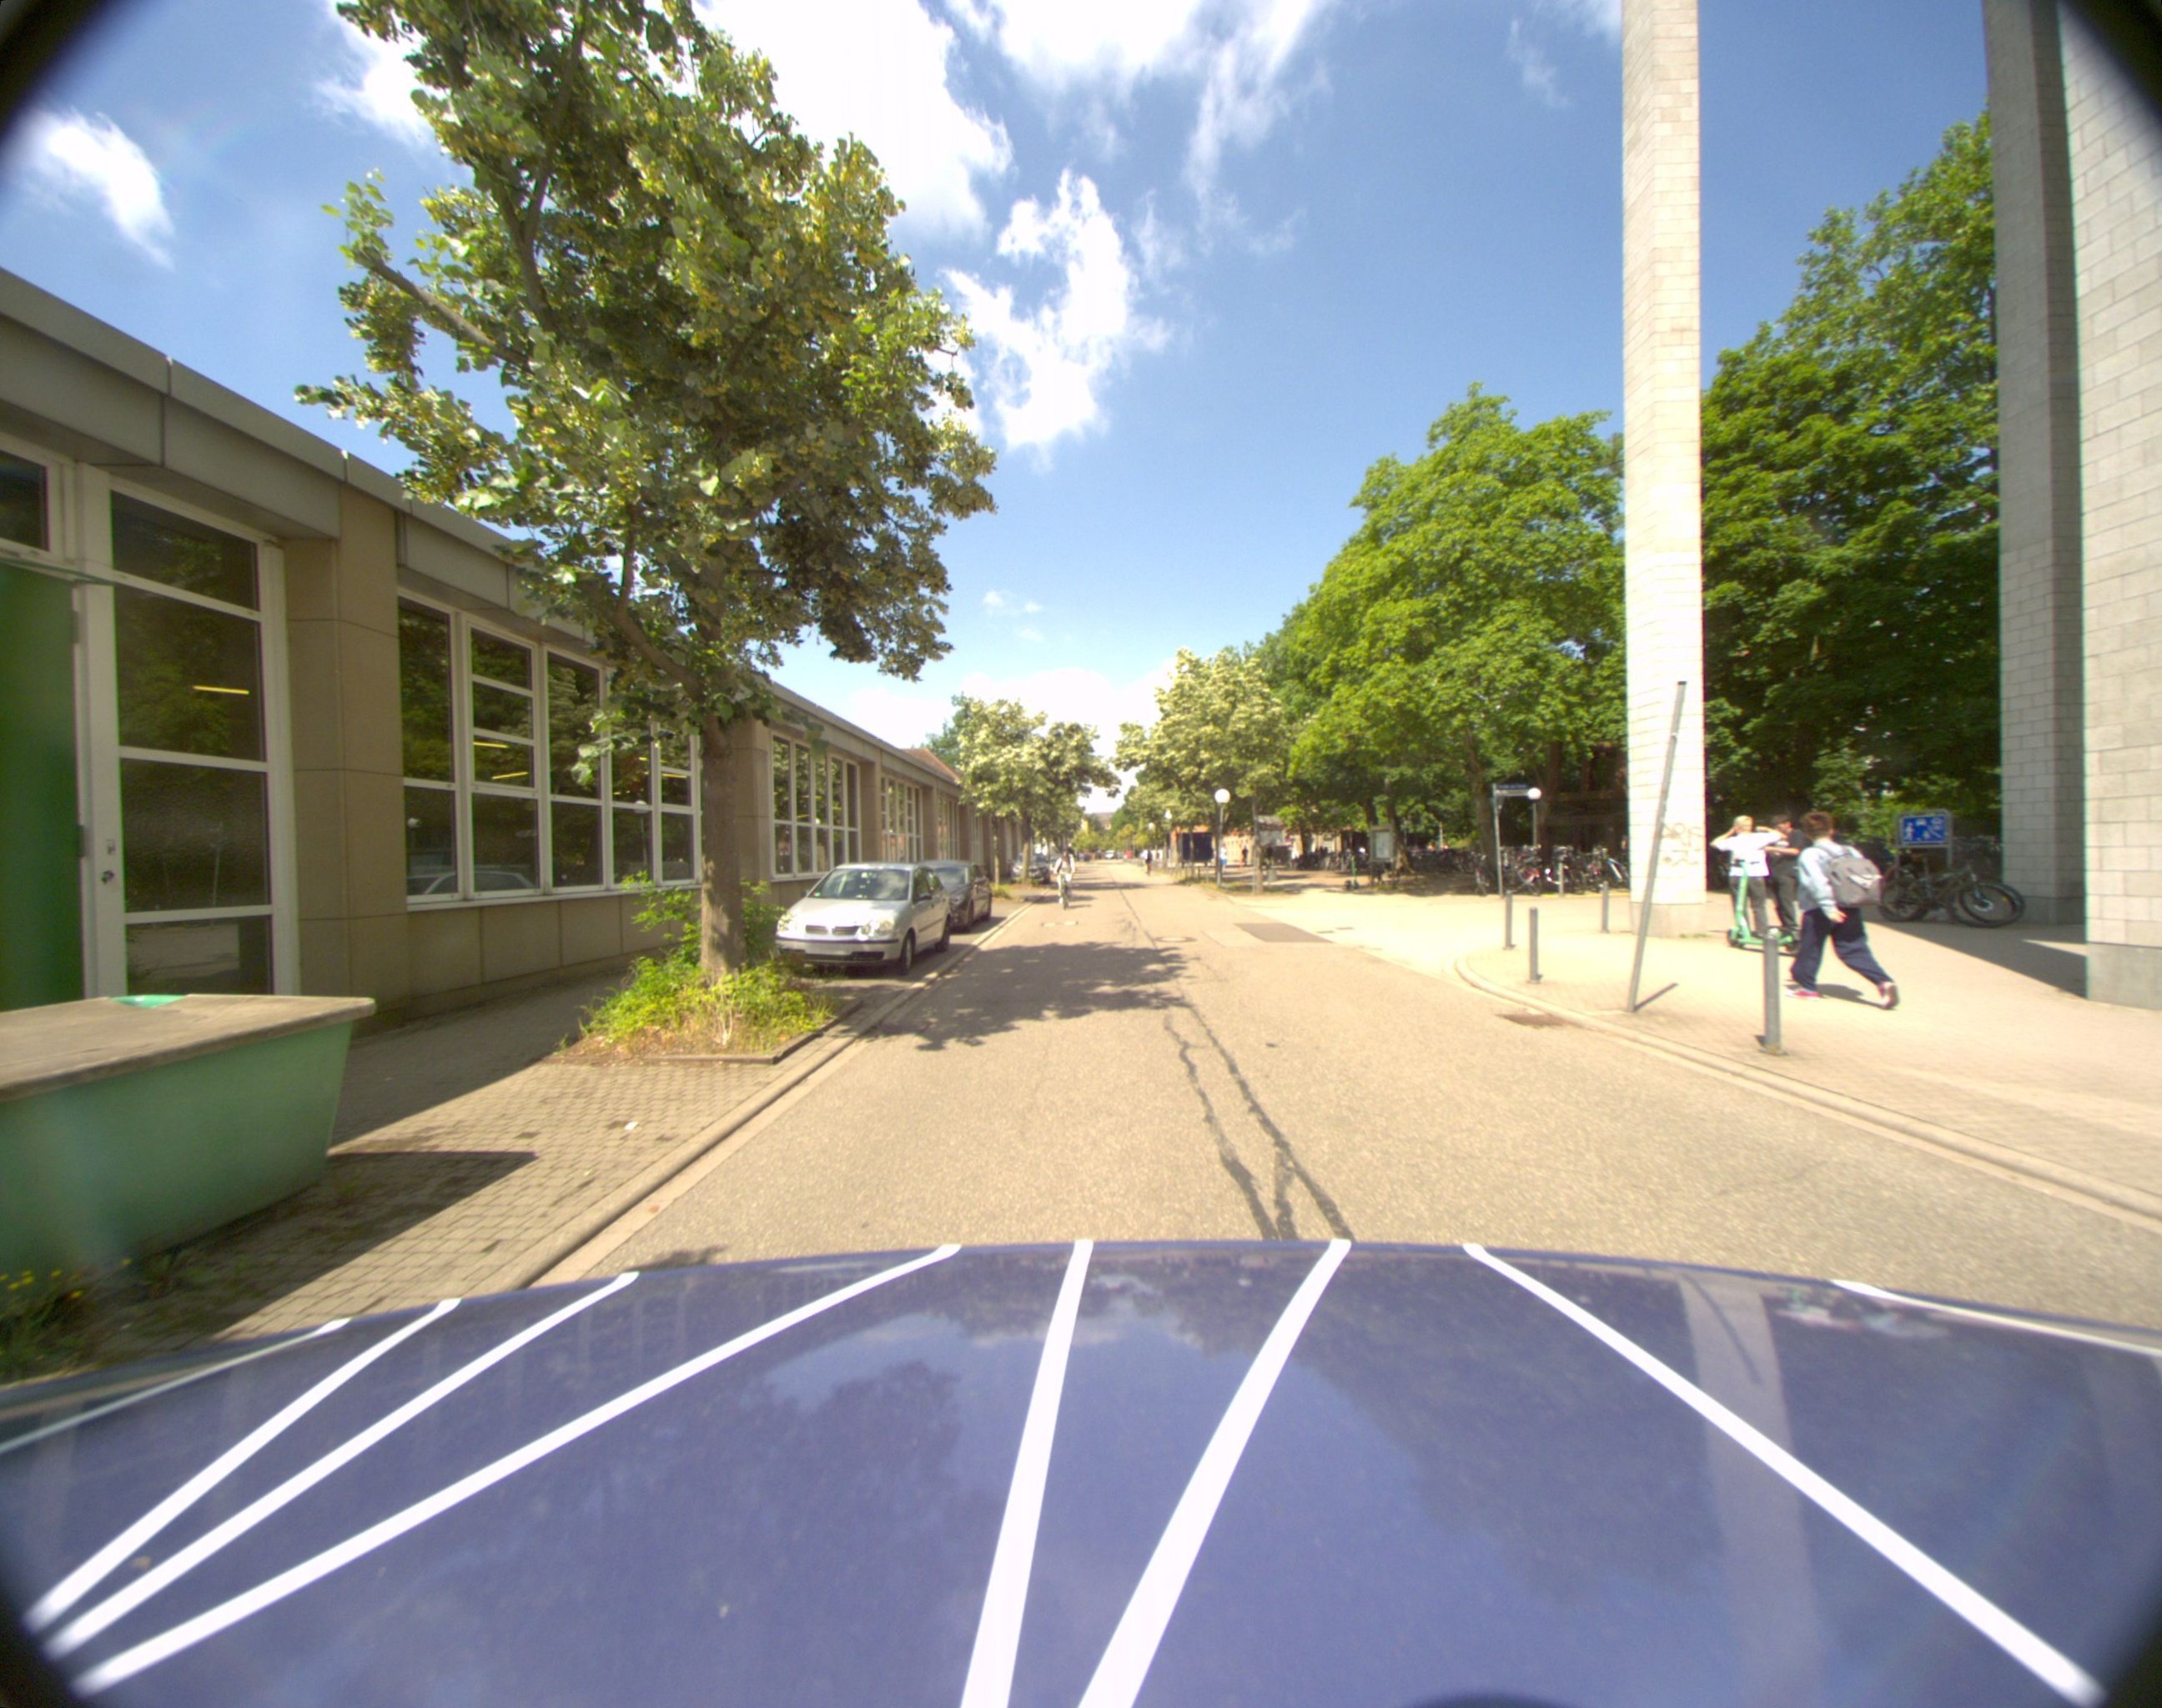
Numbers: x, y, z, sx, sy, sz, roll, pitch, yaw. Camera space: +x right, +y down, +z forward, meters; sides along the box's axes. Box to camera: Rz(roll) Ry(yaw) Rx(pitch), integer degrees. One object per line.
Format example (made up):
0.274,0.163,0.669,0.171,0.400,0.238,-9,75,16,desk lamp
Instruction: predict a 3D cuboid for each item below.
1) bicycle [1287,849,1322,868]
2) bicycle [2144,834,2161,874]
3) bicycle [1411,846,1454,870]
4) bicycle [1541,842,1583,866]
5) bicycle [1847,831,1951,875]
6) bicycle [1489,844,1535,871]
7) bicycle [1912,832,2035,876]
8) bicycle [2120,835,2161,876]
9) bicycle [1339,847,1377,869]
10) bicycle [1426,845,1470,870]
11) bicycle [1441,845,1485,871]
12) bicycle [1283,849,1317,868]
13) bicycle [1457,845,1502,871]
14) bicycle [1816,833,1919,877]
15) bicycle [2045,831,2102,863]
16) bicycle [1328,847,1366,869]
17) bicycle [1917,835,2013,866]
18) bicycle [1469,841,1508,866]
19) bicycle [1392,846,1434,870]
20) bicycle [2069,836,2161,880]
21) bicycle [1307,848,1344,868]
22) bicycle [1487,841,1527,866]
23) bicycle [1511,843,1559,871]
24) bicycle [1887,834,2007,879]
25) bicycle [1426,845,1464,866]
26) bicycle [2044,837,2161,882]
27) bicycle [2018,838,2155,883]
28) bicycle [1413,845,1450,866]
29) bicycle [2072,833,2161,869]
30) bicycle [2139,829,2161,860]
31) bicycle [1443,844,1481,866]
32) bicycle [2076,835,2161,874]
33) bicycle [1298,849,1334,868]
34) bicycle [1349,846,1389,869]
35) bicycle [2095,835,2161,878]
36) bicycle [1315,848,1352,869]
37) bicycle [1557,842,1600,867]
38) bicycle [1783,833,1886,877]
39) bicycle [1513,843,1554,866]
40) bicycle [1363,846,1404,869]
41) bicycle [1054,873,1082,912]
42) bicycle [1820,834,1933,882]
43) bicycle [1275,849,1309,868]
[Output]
13.188,0.273,44.810,2.127,1.052,0.621,-3,1,-28,bicycle
28.824,0.006,19.290,0.622,1.052,2.174,-2,1,1,bicycle
17.124,0.185,37.001,2.127,1.100,0.751,-3,1,-28,bicycle
22.672,0.009,35.787,2.127,1.052,0.681,-3,1,-28,bicycle
25.873,-0.010,24.072,0.623,1.325,2.169,-3,1,-33,bicycle
18.982,0.153,33.446,2.127,1.100,0.751,-3,1,-28,bicycle
22.807,-0.007,19.490,0.622,1.052,2.174,-2,1,1,bicycle
28.162,0.038,19.279,0.622,1.052,2.174,-2,1,1,bicycle
15.043,0.217,41.266,2.127,1.100,0.681,-3,1,-28,bicycle
17.536,0.177,36.257,2.127,1.100,0.751,-3,1,-28,bicycle
17.886,0.171,35.556,2.127,1.100,0.751,-3,1,-28,bicycle
13.150,0.266,45.565,2.127,1.052,0.621,-3,1,-28,bicycle
18.287,0.164,34.846,2.127,1.100,0.751,-3,1,-28,bicycle
24.883,0.028,24.076,0.623,1.325,2.169,-3,1,-33,bicycle
35.342,-0.271,27.085,0.621,1.052,2.179,-1,1,36,bicycle
14.675,0.224,41.919,2.127,1.100,0.681,-3,1,-28,bicycle
31.736,-0.135,27.339,0.623,1.052,2.171,-3,1,-17,bicycle
21.016,-0.031,39.130,2.127,1.185,0.681,-3,1,-28,bicycle
16.625,0.192,38.034,2.127,1.100,0.751,-3,1,-28,bicycle
26.829,0.095,19.305,0.622,1.052,2.174,-2,1,1,bicycle
14.062,0.252,43.660,2.127,1.052,0.681,-3,1,-28,bicycle
21.358,-0.033,38.053,2.127,1.185,0.681,-3,1,-28,bicycle
19.421,0.131,32.475,2.127,1.100,0.751,-3,1,-28,bicycle
22.137,0.048,19.496,0.622,1.052,2.174,-2,1,1,bicycle
19.458,0.063,40.595,2.127,1.052,0.681,-3,1,-28,bicycle
26.166,0.125,19.312,0.622,1.052,2.174,-2,1,1,bicycle
25.479,0.149,19.333,0.622,1.052,2.174,-2,1,1,bicycle
19.086,0.068,41.387,2.127,1.052,0.681,-3,1,-28,bicycle
32.114,-0.104,23.202,0.623,1.052,2.171,-3,1,-17,bicycle
37.200,-0.330,25.927,0.621,1.052,2.179,-1,1,36,bicycle
20.040,0.047,39.977,2.127,1.052,0.681,-3,1,-28,bicycle
30.065,-0.007,21.630,0.622,1.052,2.174,-2,1,1,bicycle
13.683,0.260,44.287,2.127,1.052,0.681,-3,1,-28,bicycle
15.399,0.198,40.596,2.127,1.151,0.751,-3,1,-28,bicycle
27.493,0.064,19.293,0.622,1.052,2.174,-2,1,1,bicycle
14.213,0.256,42.808,2.127,1.052,0.681,-3,1,-28,bicycle
22.857,0.012,34.884,2.127,1.052,0.681,-3,1,-28,bicycle
21.778,0.014,22.028,0.622,1.185,2.173,-2,1,-7,bicycle
22.150,0.013,37.194,2.127,1.052,0.681,-3,1,-28,bicycle
15.833,0.177,39.737,2.127,1.100,0.751,-3,1,-28,bicycle
-0.377,1.103,22.285,0.781,1.042,1.912,-1,0,-1,bicycle
22.989,0.124,22.008,0.623,1.325,2.169,-3,1,-33,bicycle
12.826,0.272,46.178,2.127,1.052,0.621,-3,1,-28,bicycle
